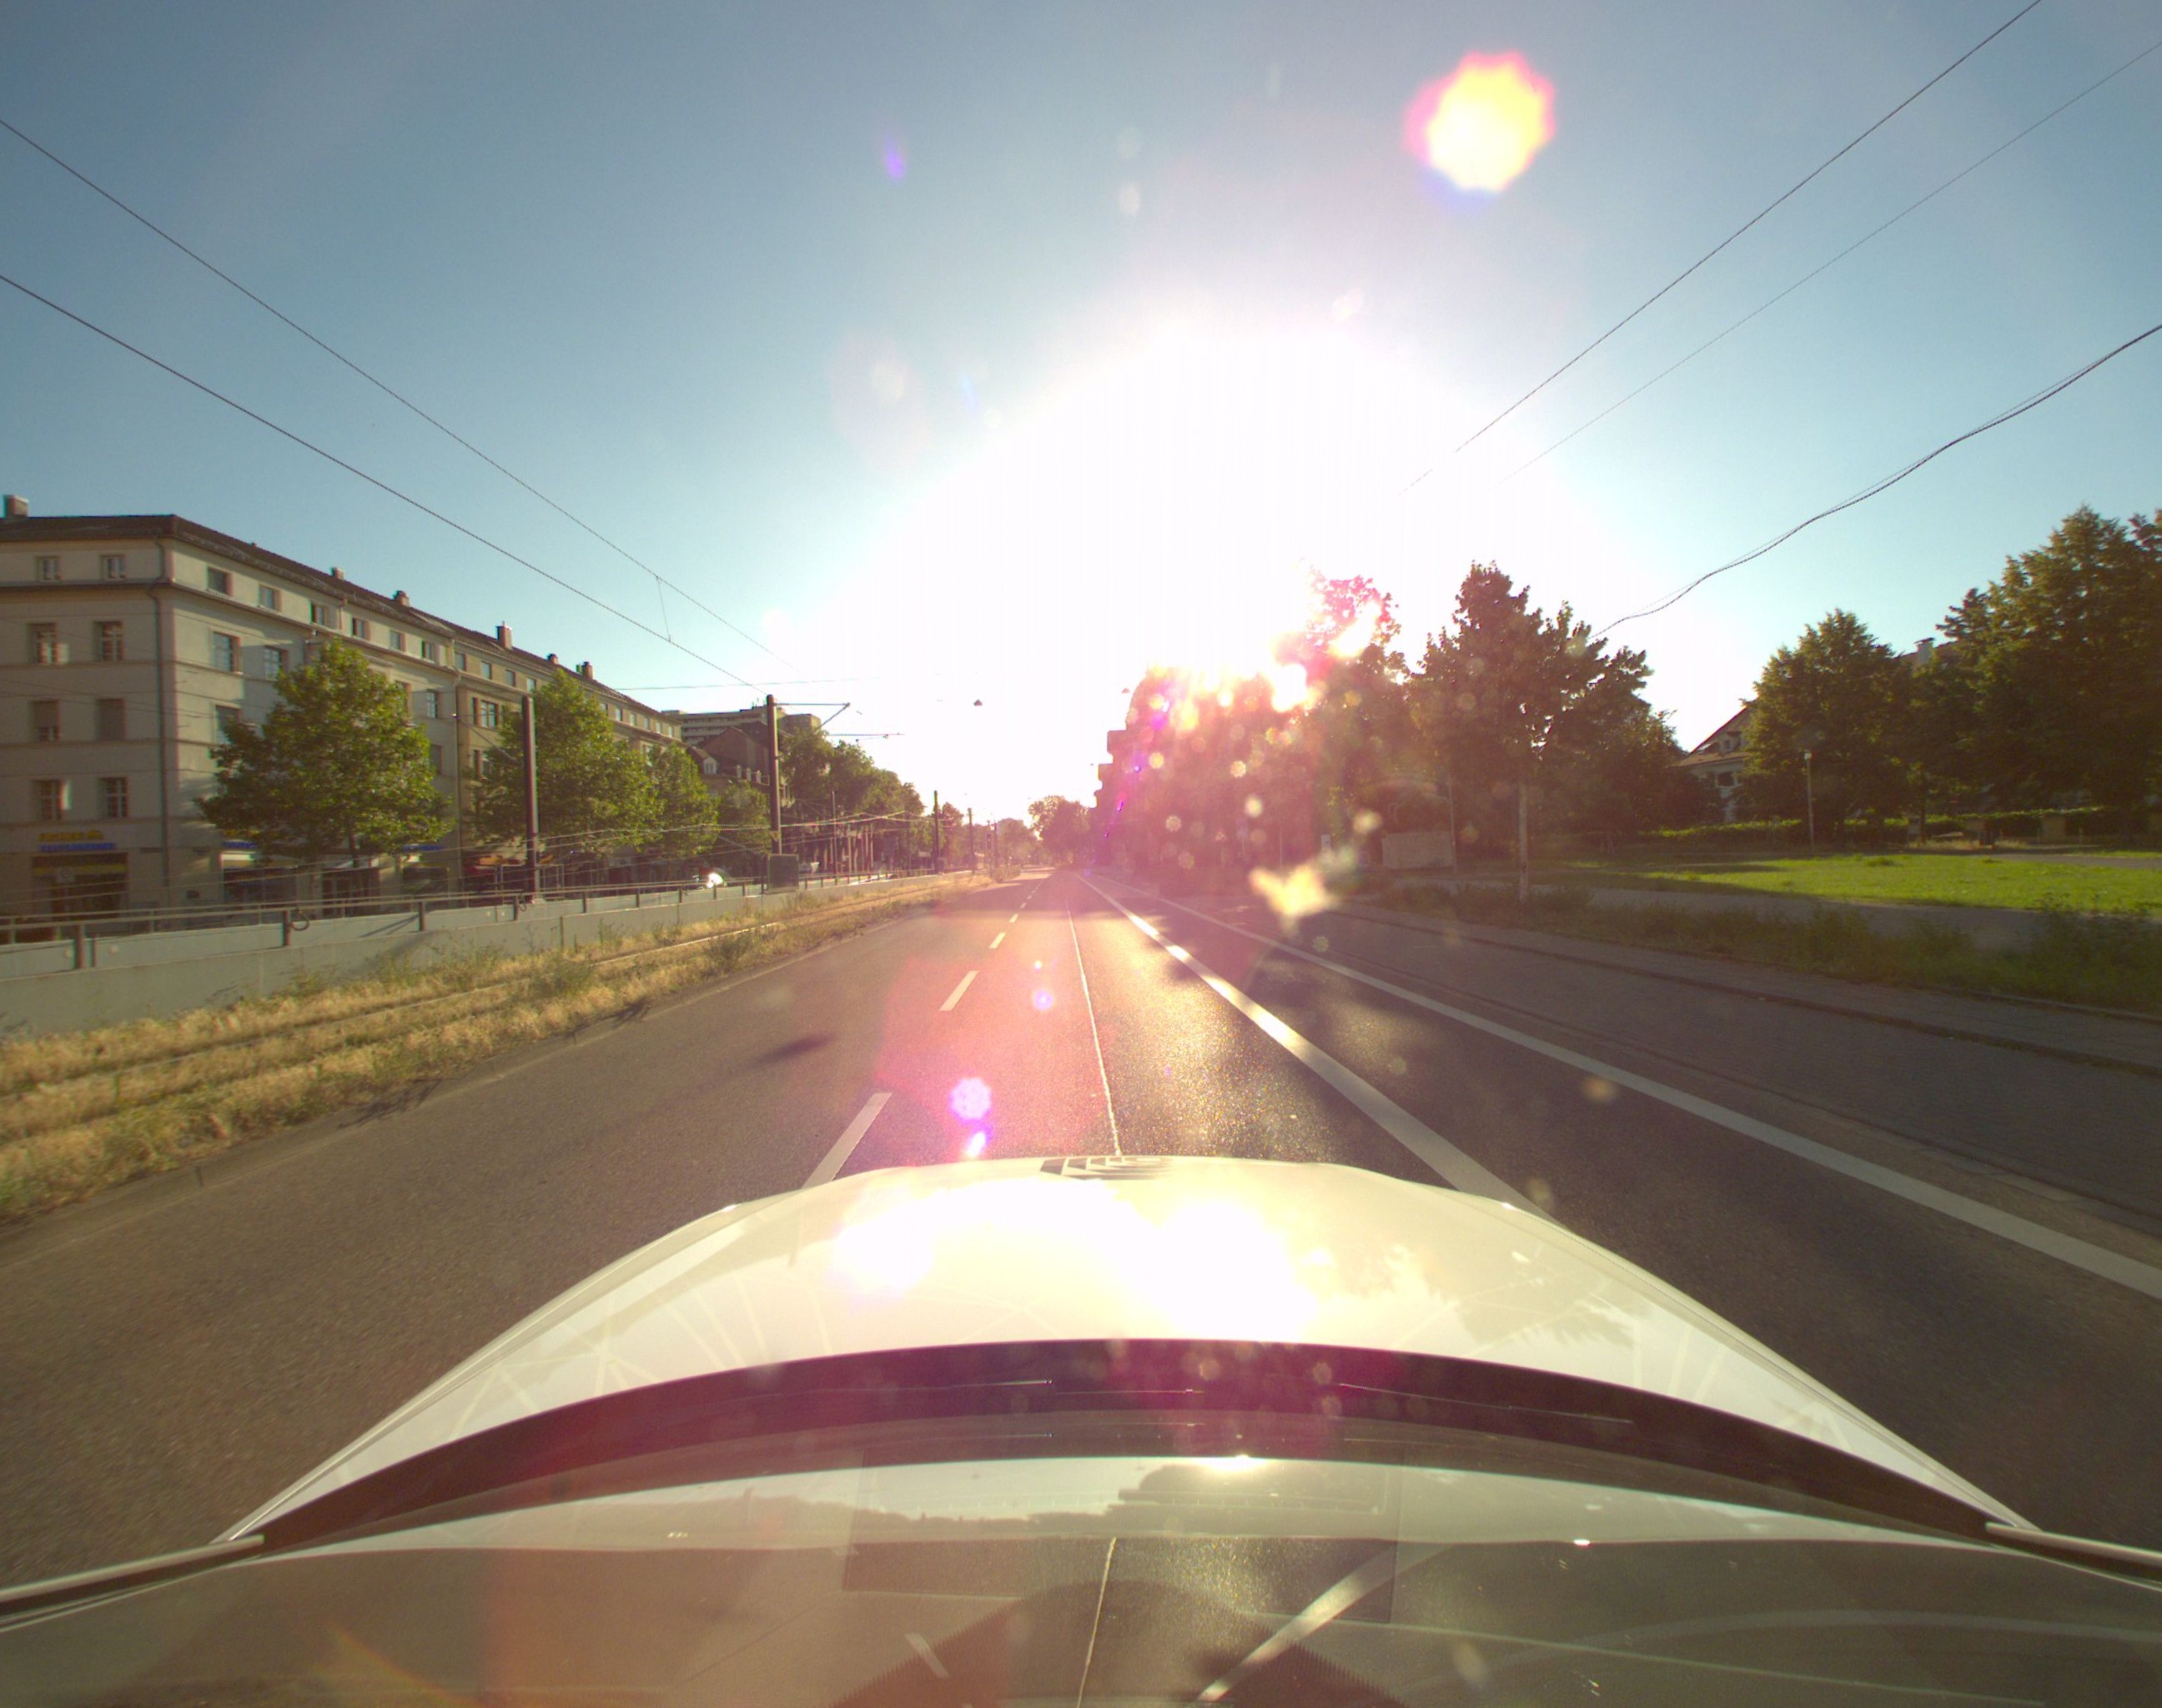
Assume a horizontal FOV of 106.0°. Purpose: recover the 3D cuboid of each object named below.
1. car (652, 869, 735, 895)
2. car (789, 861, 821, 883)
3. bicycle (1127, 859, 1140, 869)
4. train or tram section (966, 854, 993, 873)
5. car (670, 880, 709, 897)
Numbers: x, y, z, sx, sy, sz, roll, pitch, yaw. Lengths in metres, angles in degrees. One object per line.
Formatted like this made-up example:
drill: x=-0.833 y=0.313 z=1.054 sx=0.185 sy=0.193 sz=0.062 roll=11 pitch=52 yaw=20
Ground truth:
car: x=-39.949 y=2.904 z=84.184 sx=7.260 sy=2.266 sz=2.464 roll=-3 pitch=-1 yaw=-7
car: x=-29.611 y=1.927 z=87.514 sx=1.947 sy=2.134 sz=4.570 roll=-3 pitch=0 yaw=-1
bicycle: x=6.590 y=1.260 z=102.317 sx=0.859 sy=1.196 sz=2.251 roll=-3 pitch=-1 yaw=22
train or tram section: x=-20.973 y=1.939 z=169.344 sx=3.102 sy=3.559 sz=17.476 roll=-3 pitch=-1 yaw=0
car: x=-33.070 y=2.864 z=68.841 sx=1.449 sy=1.332 sz=3.709 roll=0 pitch=-1 yaw=0
